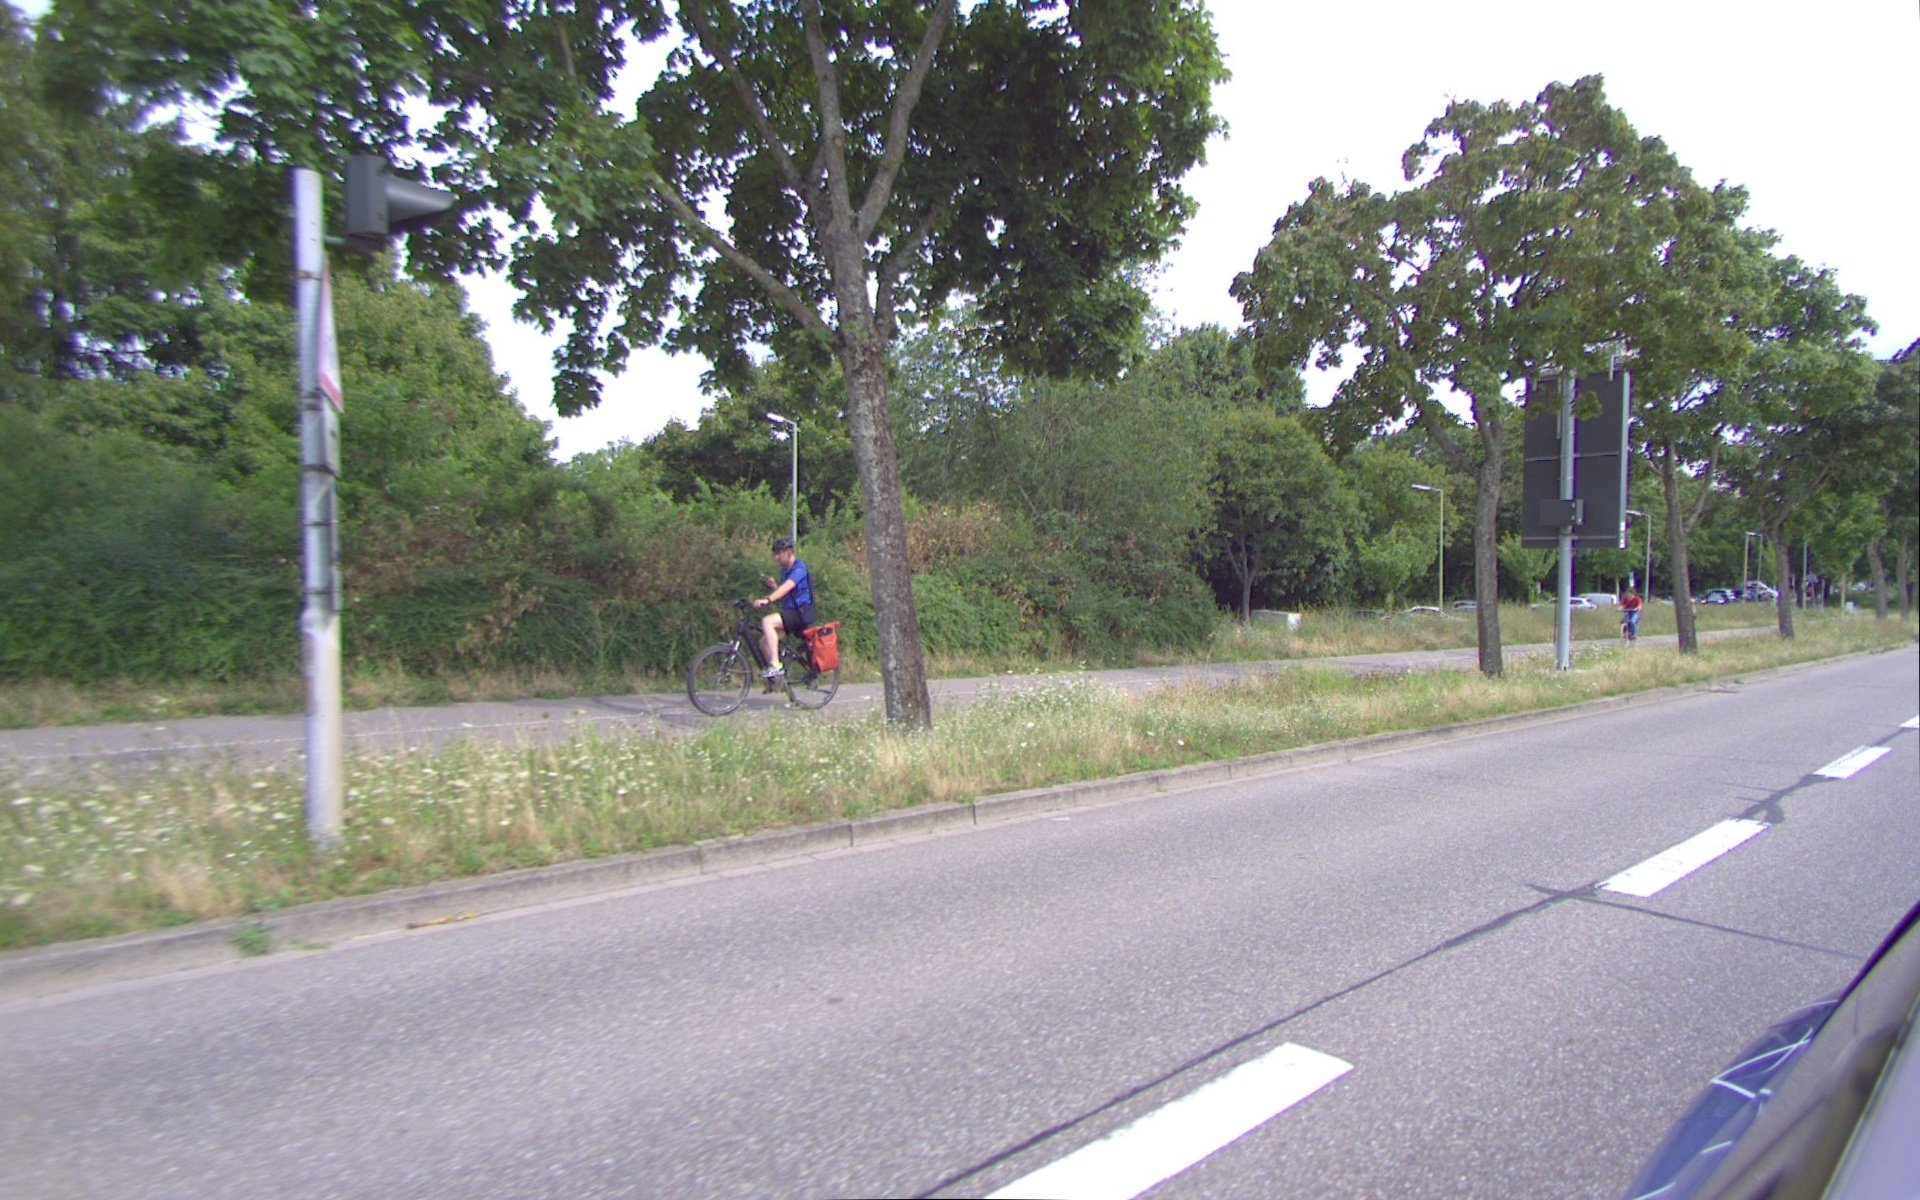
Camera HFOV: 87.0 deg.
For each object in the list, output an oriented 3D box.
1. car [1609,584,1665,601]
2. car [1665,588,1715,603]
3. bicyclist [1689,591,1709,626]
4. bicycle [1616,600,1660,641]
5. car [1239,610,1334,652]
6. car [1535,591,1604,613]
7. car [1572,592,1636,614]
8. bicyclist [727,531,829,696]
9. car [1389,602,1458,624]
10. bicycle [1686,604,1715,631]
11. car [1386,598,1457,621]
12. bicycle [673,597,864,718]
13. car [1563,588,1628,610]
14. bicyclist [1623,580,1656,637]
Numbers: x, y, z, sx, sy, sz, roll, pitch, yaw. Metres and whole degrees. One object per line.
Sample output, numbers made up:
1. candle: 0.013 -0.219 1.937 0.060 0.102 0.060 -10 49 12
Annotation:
1. car: 61.120 -0.724 91.379 3.988 1.383 1.594 3 2 44
2. car: 75.039 -0.482 104.033 3.988 1.383 1.594 3 2 44
3. bicyclist: 27.976 0.315 38.305 0.442 1.299 0.539 0 0 -41
4. bicycle: 20.198 0.600 30.136 2.193 1.162 0.514 0 2 -42
5. car: 16.191 1.507 50.286 1.966 1.816 3.993 0 2 -42
6. car: 44.304 0.133 73.587 3.988 1.461 1.625 3 2 44
7. car: 51.658 0.195 81.203 1.774 1.605 3.991 0 2 -44
8. bicyclist: -1.940 0.132 10.807 0.861 1.678 0.653 0 0 -42
9. car: 27.404 0.754 59.890 3.438 1.206 1.337 2 1 44
10. bicycle: 28.064 0.638 38.364 1.751 0.976 0.514 0 2 -42
11. car: 26.310 0.539 57.696 3.438 1.206 1.337 2 1 44
12. bicycle: -1.988 0.568 10.723 1.948 1.162 0.574 1 2 -42
13. car: 49.391 -0.105 78.709 3.988 1.575 1.625 3 2 44
14. bicyclist: 20.257 0.244 30.155 0.767 1.678 0.653 0 0 -42
